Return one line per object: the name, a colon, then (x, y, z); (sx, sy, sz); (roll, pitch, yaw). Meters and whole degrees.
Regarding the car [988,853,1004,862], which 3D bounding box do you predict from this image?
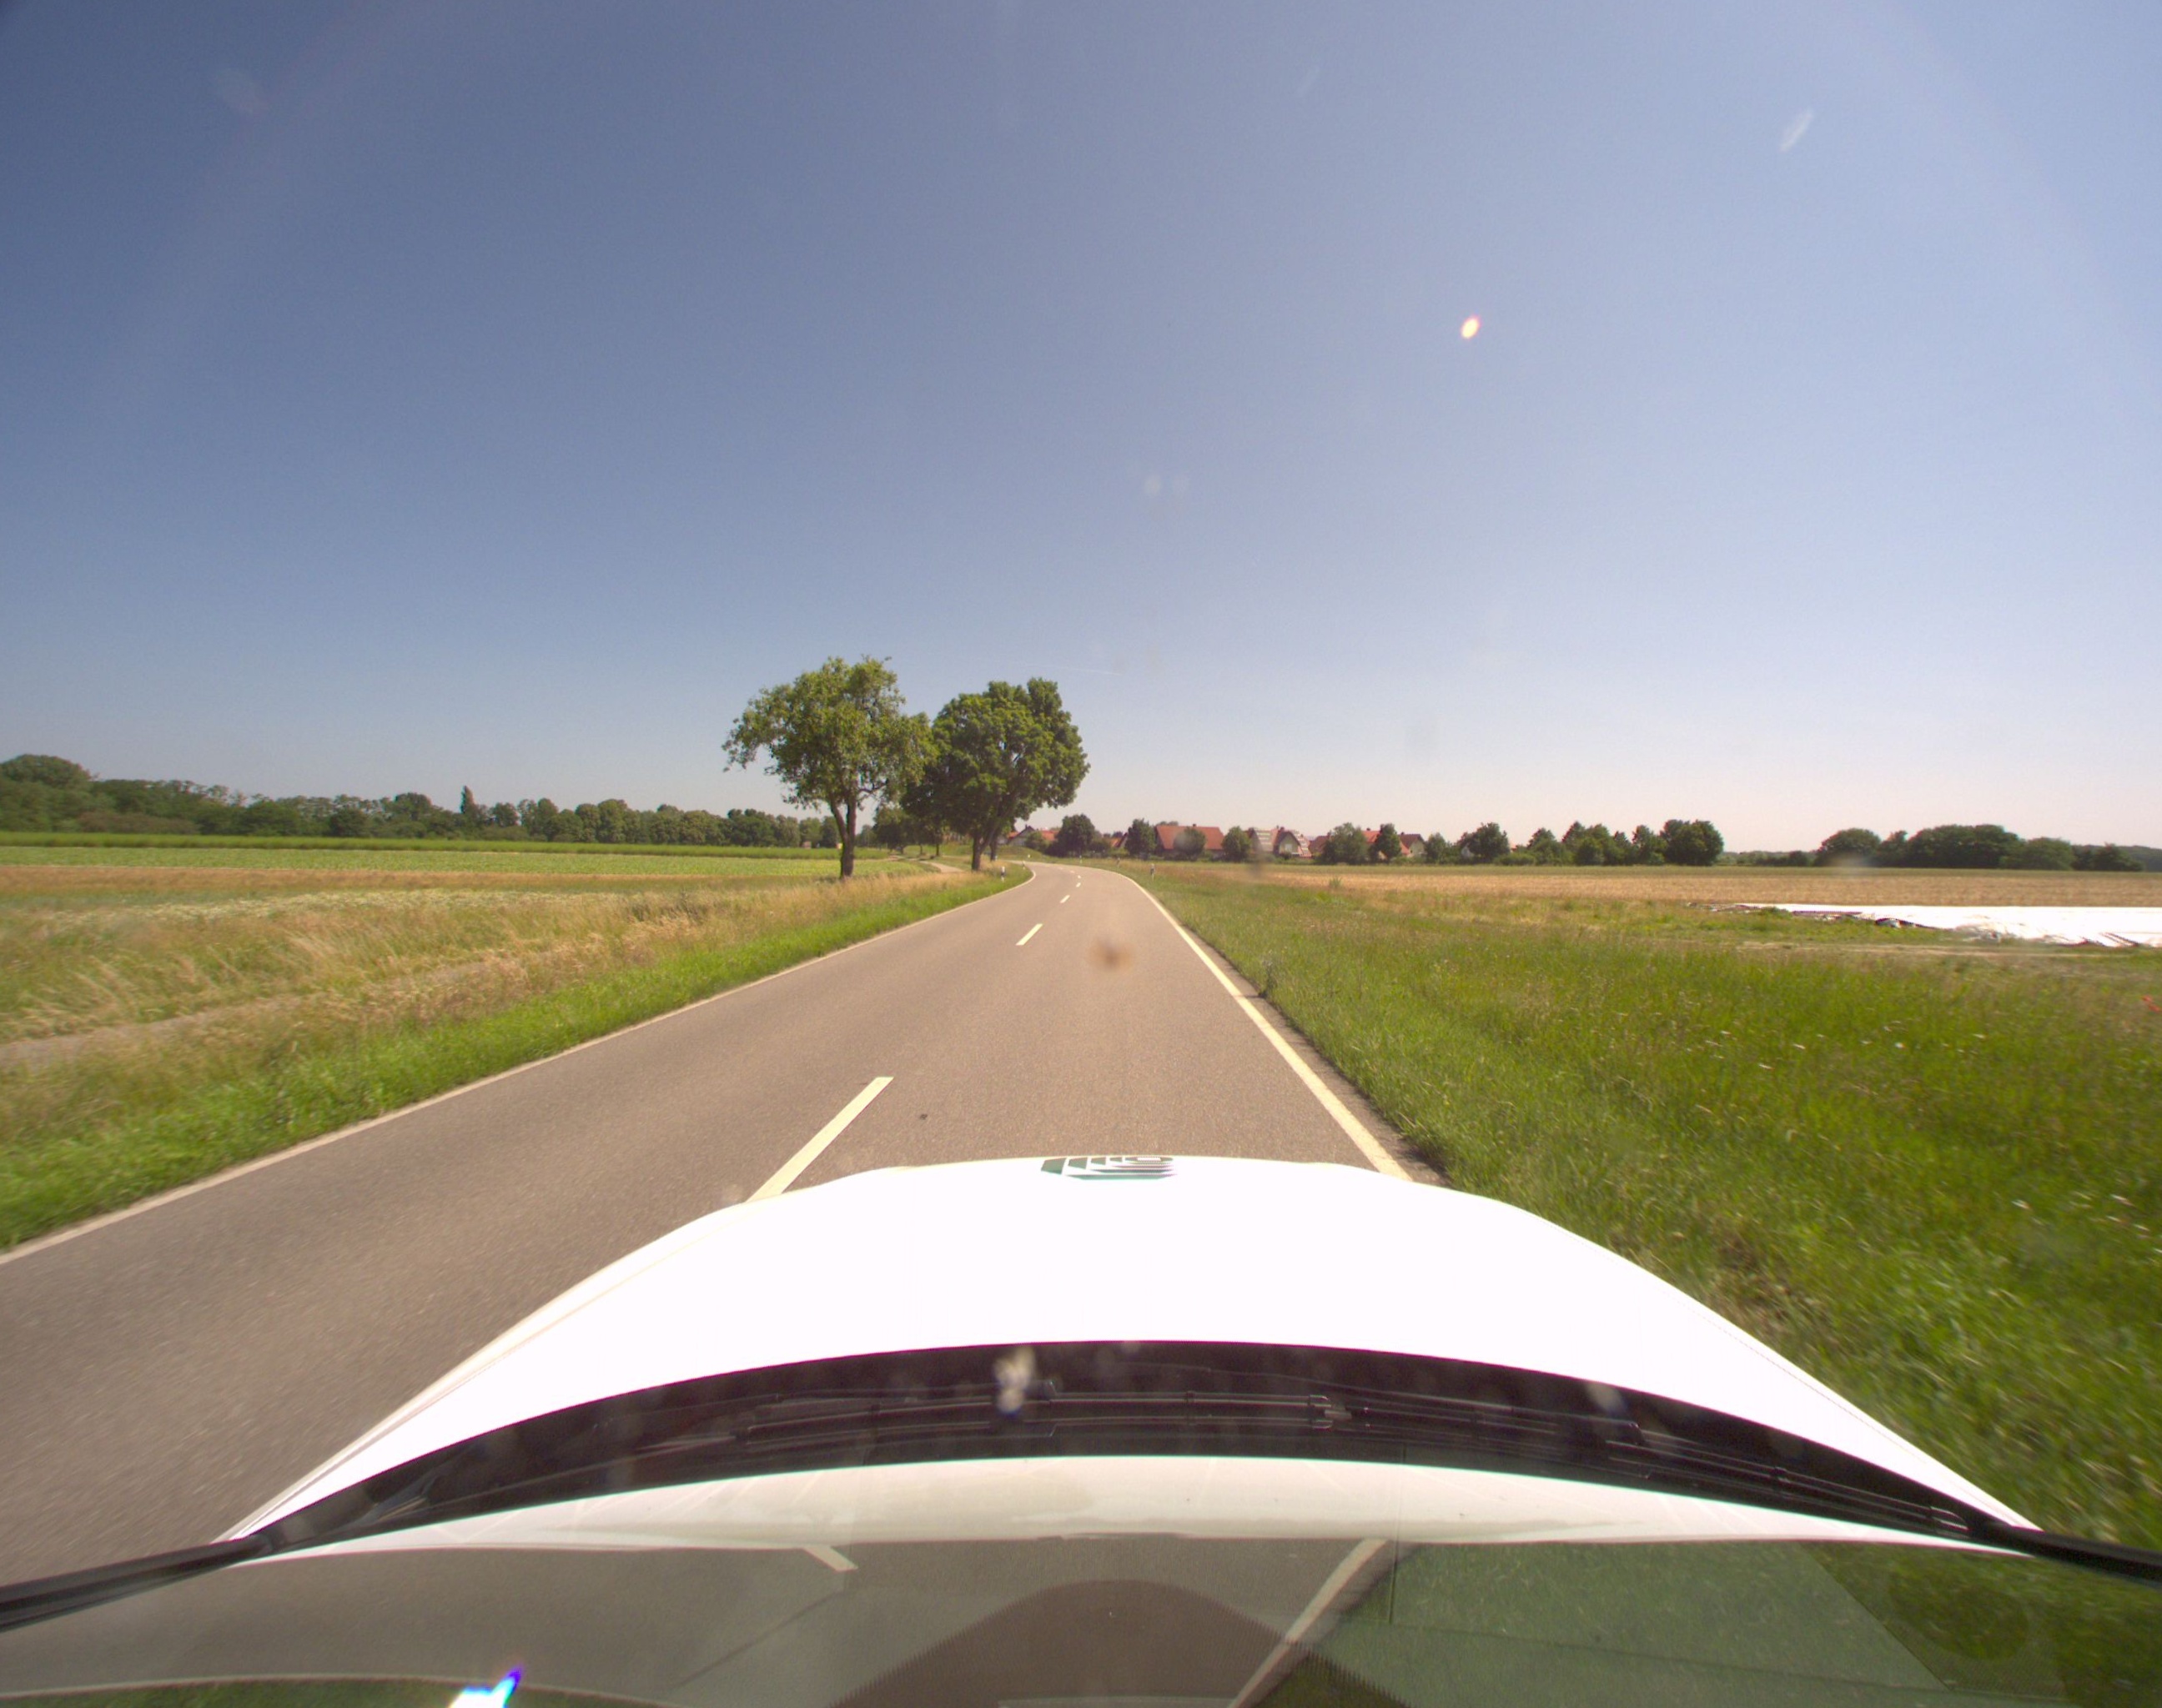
car: (-13.137, 0.545, 125.447); (1.648, 1.429, 4.155); (-2, 0, -18)
